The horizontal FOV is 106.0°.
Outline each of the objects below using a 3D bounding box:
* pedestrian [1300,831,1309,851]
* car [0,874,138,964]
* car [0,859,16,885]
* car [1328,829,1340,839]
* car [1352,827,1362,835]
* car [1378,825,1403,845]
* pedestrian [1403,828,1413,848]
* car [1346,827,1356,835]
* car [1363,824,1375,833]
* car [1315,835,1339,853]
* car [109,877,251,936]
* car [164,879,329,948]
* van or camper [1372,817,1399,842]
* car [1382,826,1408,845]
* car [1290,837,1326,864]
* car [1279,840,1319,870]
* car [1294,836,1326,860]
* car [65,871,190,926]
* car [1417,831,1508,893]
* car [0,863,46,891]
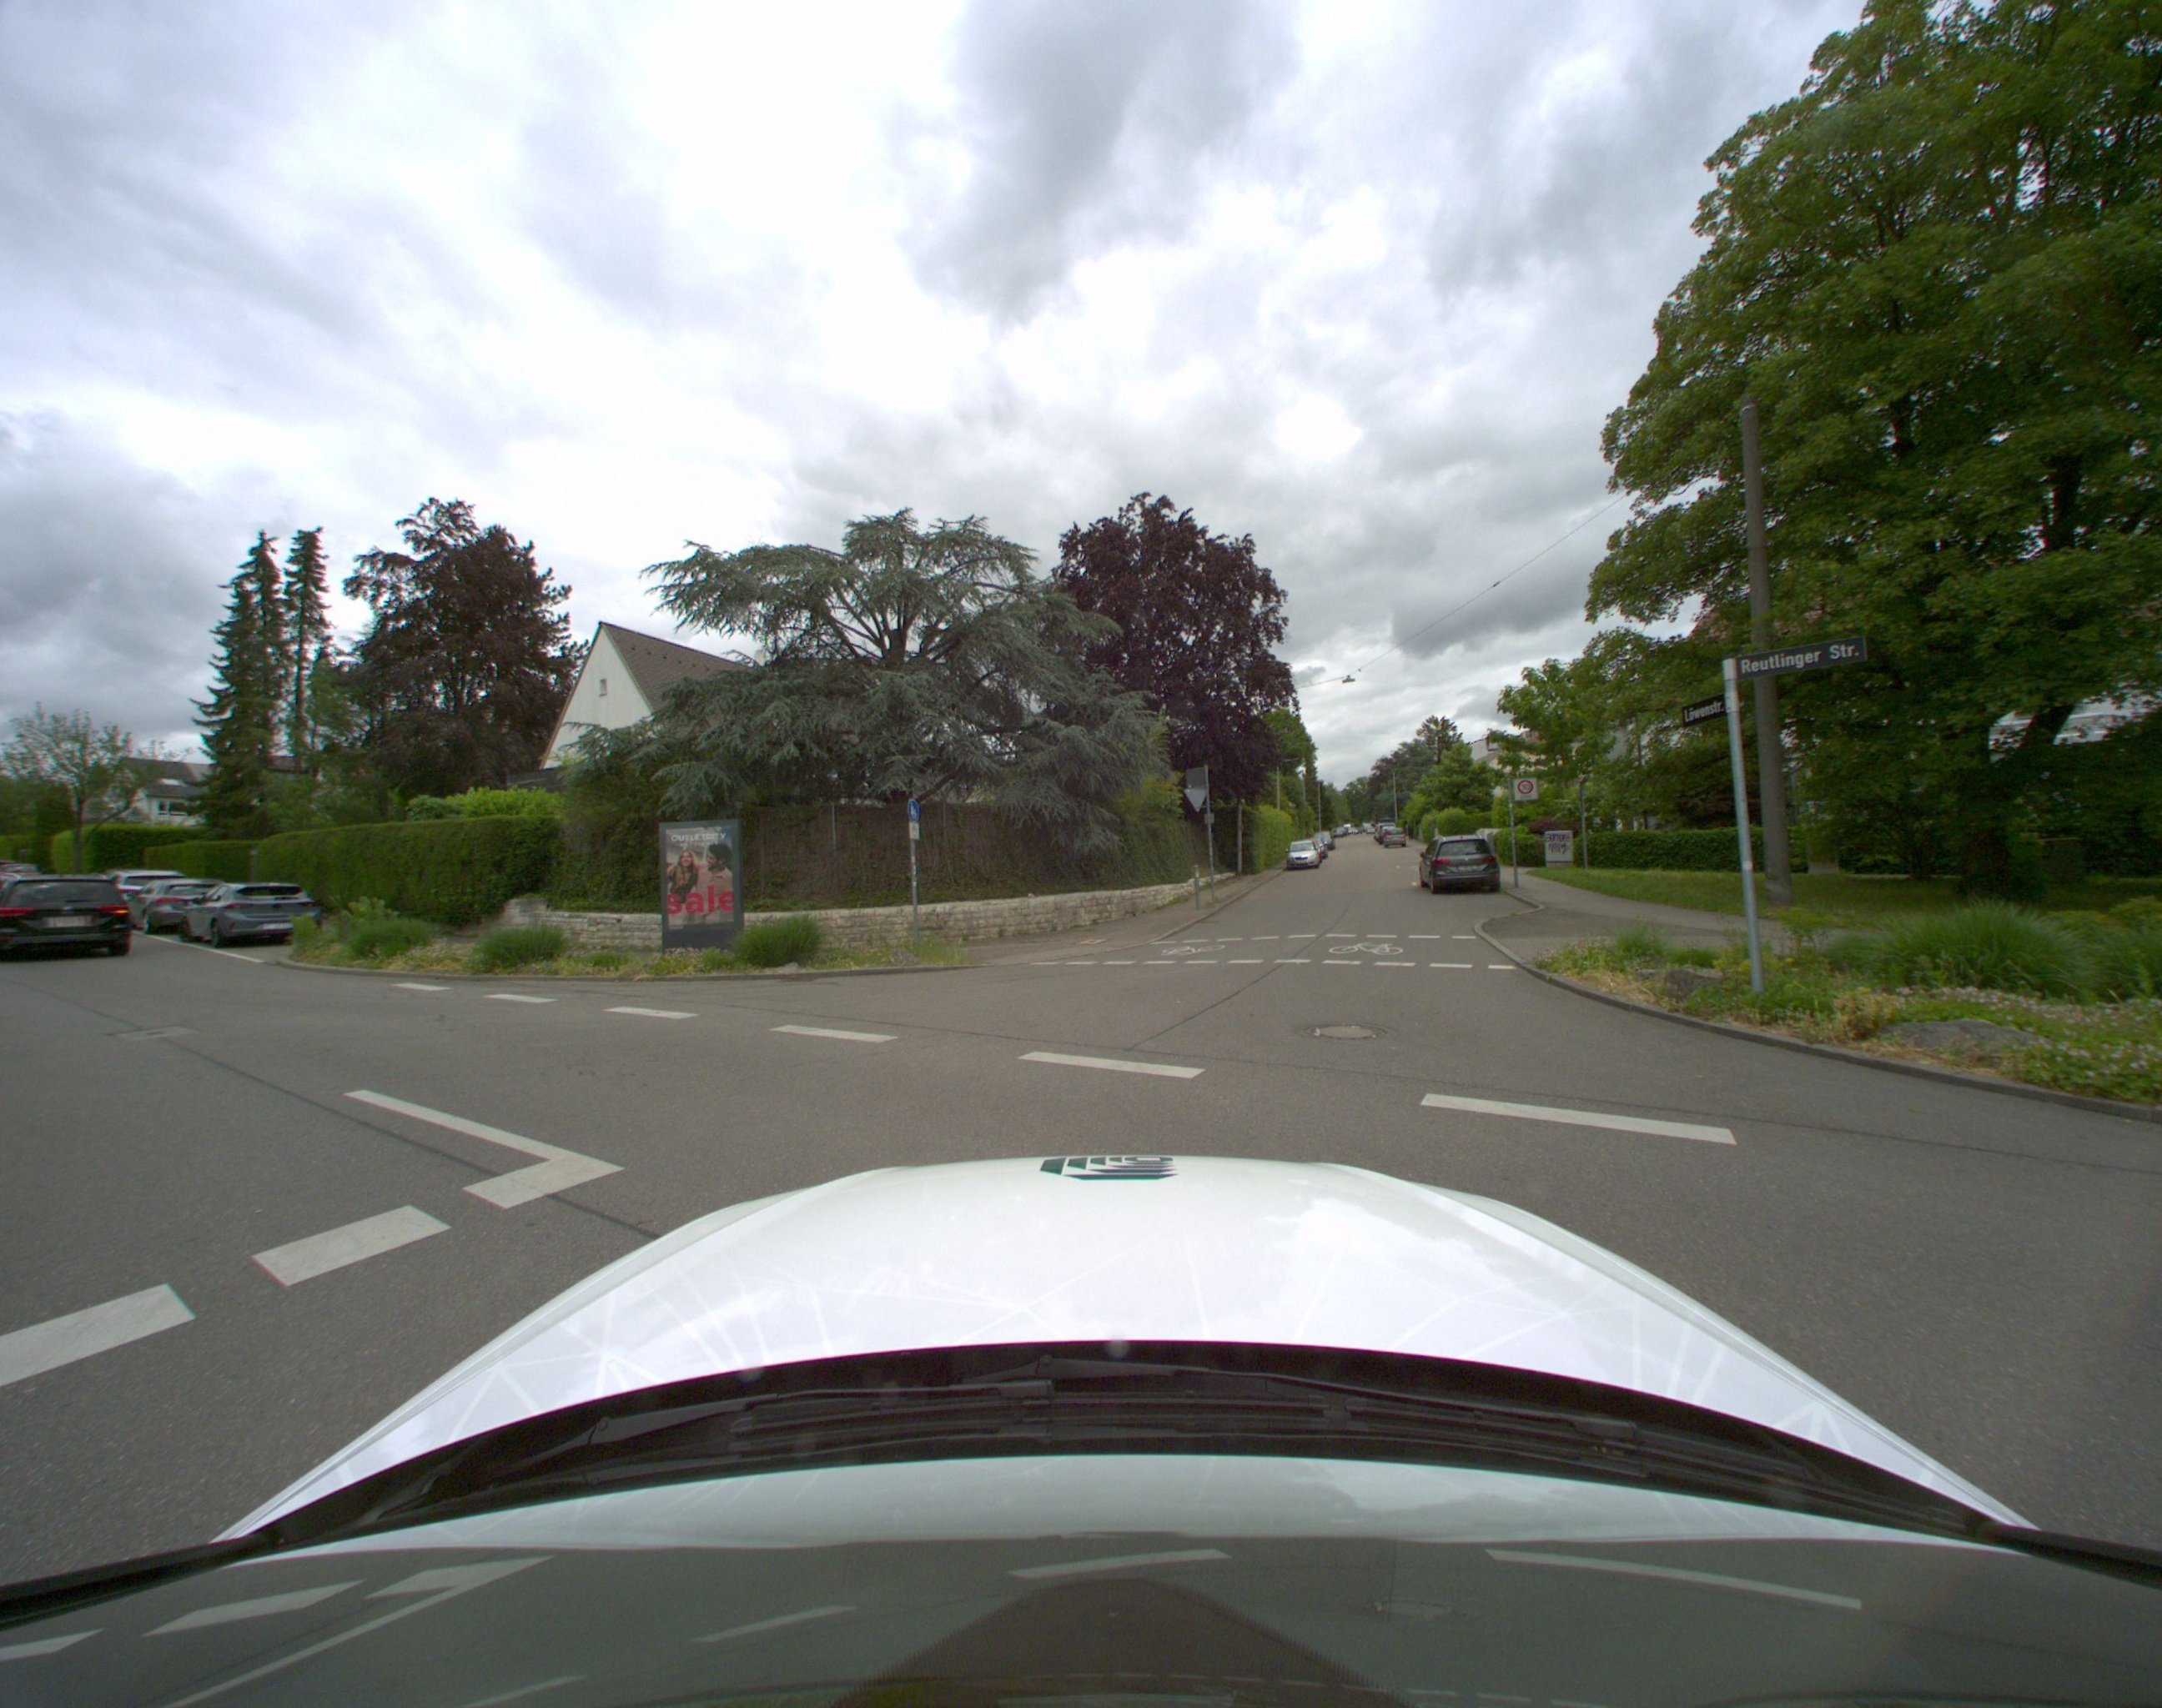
[{"bbox_3d":[21.958,-1.286,80.055,0.847,2.013,0.876,-1,0,13],"label":"pedestrian"},{"bbox_3d":[-21.004,1.234,16.567,4.255,1.612,1.865,-1,-1,34],"label":"car"},{"bbox_3d":[-68.724,1.112,51.066,4.455,1.618,2.012,-1,-3,34],"label":"car"},{"bbox_3d":[39.813,-3.114,128.198,1.701,1.462,3.674,-1,1,18],"label":"car"},{"bbox_3d":[59.459,-4.914,175.503,1.802,1.574,4.015,-3,0,14],"label":"car"},{"bbox_3d":[28.144,-1.728,74.183,1.733,1.640,3.744,-3,0,16],"label":"car"},{"bbox_3d":[31.843,-1.573,79.298,0.751,1.871,0.623,-1,0,18],"label":"pedestrian"},{"bbox_3d":[49.091,-4.180,148.037,1.642,1.335,3.798,-1,1,17],"label":"car"},{"bbox_3d":[59.157,-5.217,167.432,1.926,1.796,4.211,-1,1,14],"label":"car"},{"bbox_3d":[21.360,-0.889,70.763,1.931,1.442,4.018,-3,0,16],"label":"car"},{"bbox_3d":[-25.016,1.387,22.596,4.118,1.464,1.872,-1,-2,31],"label":"car"},{"bbox_3d":[-19.895,1.333,19.398,3.948,1.464,1.872,-1,-2,31],"label":"car"},{"bbox_3d":[31.832,-2.545,85.210,2.096,2.405,5.268,-3,0,16],"label":"van or camper"},{"bbox_3d":[24.875,-1.442,64.609,1.597,1.413,3.488,-1,1,15],"label":"car"},{"bbox_3d":[13.678,-0.235,48.972,1.931,1.442,4.018,-3,0,16],"label":"car"},{"bbox_3d":[11.846,0.014,44.119,1.931,1.442,4.018,-3,0,16],"label":"car"},{"bbox_3d":[15.163,-0.424,53.826,1.931,1.442,4.018,-3,0,16],"label":"car"},{"bbox_3d":[-29.844,1.346,25.482,4.118,1.582,1.872,-1,-2,31],"label":"car"},{"bbox_3d":[10.862,0.198,23.445,1.803,1.536,4.019,-4,0,18],"label":"car"},{"bbox_3d":[-60.462,1.292,46.291,3.710,1.508,1.677,0,-1,33],"label":"car"}]
